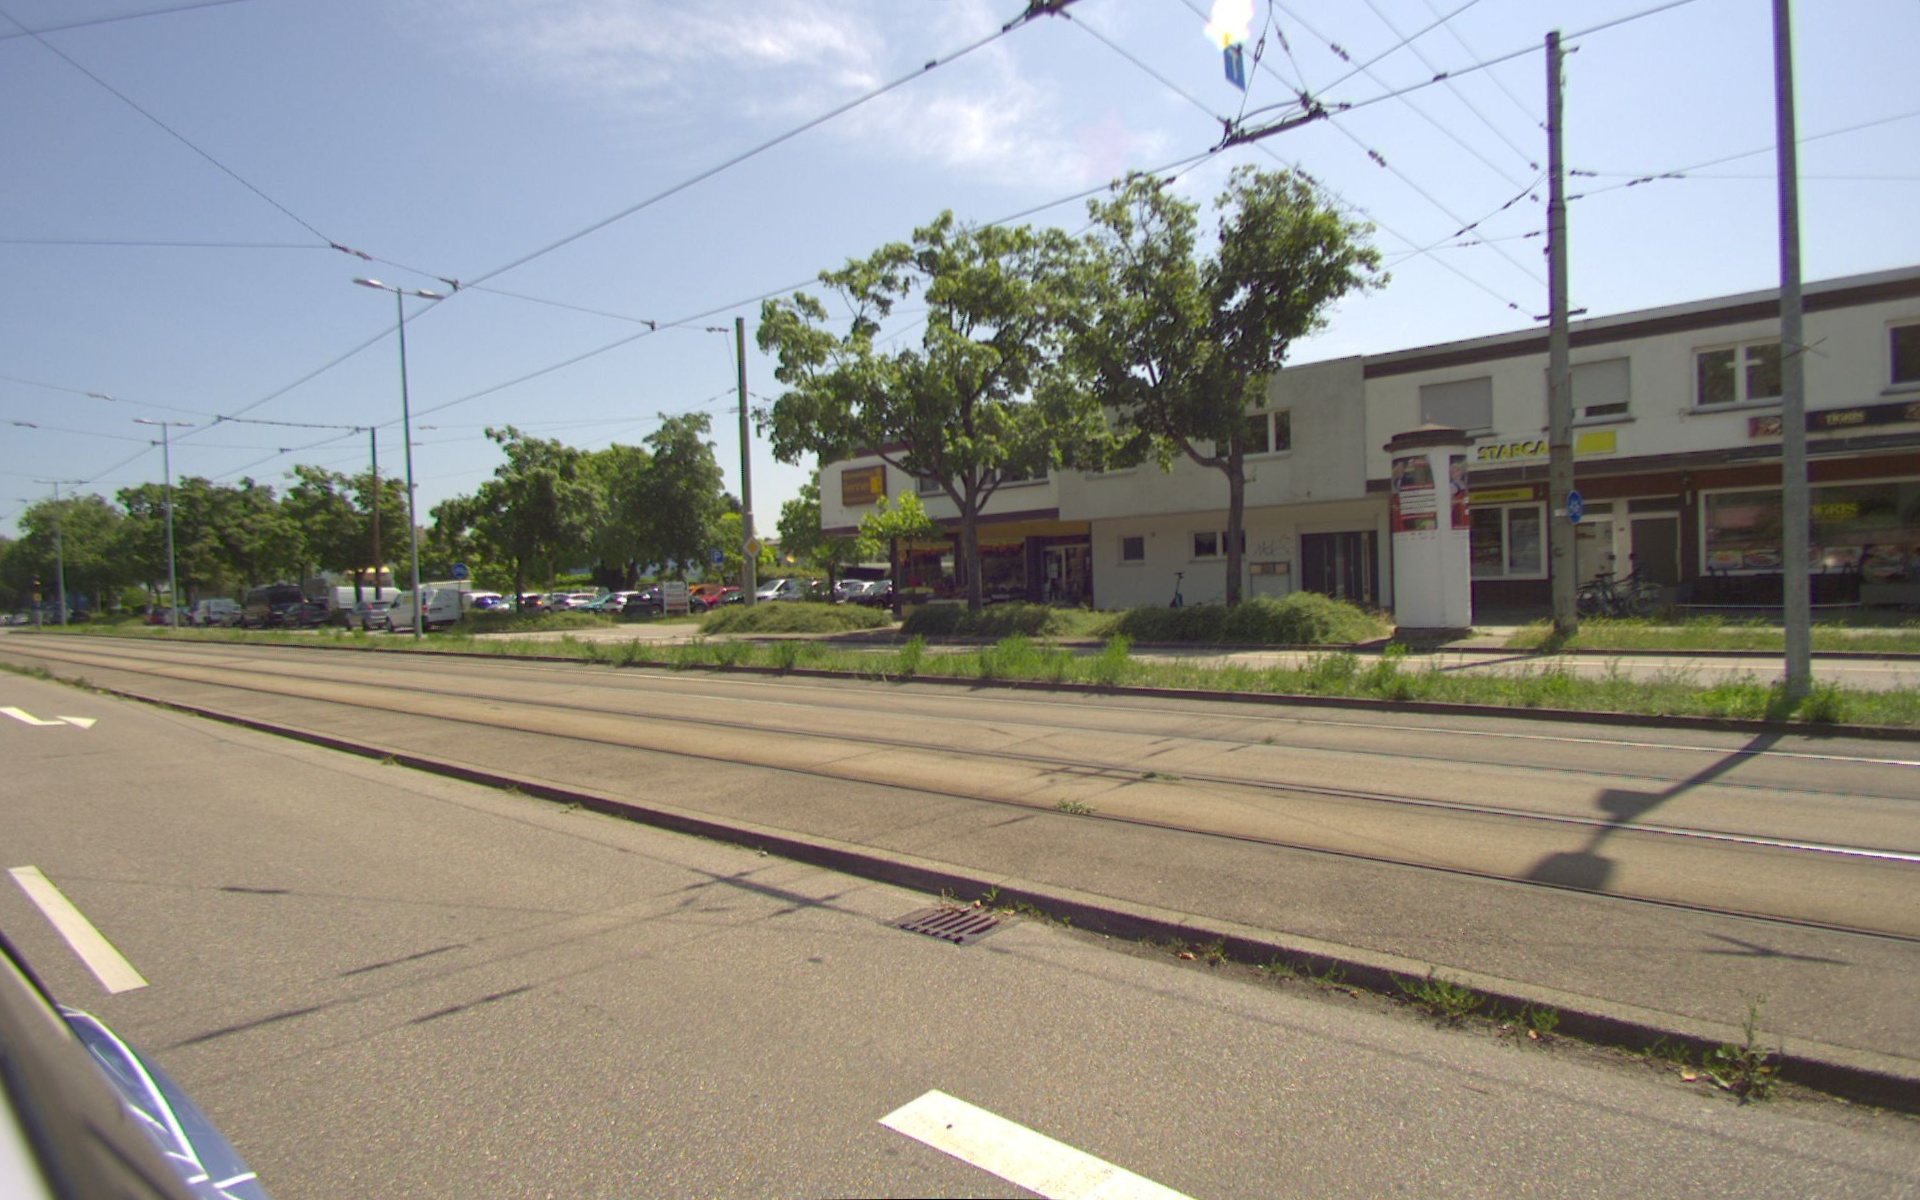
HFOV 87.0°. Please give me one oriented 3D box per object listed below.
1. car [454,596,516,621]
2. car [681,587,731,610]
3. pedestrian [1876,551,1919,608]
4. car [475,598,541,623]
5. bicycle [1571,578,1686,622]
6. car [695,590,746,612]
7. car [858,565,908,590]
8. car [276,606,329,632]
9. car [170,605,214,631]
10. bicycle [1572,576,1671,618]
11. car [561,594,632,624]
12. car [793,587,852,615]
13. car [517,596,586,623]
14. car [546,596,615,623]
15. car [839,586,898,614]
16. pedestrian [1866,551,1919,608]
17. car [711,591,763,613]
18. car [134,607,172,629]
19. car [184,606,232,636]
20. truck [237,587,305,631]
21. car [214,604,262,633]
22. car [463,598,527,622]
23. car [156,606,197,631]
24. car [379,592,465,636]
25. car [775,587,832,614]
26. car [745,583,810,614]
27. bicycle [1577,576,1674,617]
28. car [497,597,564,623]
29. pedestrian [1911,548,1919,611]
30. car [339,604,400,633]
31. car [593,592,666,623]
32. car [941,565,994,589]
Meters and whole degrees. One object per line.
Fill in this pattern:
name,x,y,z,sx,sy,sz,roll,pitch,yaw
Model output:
car,-31.444,0.550,67.090,1.600,1.517,3.375,-1,1,35
car,-18.466,-0.120,73.585,1.504,1.573,3.315,-1,1,38
pedestrian,19.803,-0.440,21.344,0.674,1.172,0.512,-1,1,41
car,-27.973,0.614,62.673,1.600,1.404,3.375,-1,1,35
bicycle,14.150,0.015,21.454,1.958,0.854,0.596,-1,3,41
car,-16.882,0.068,71.460,1.504,1.469,3.315,-1,1,38
car,-6.661,-1.954,87.719,2.000,2.029,3.944,-1,1,42
car,-37.489,1.087,57.674,3.669,1.397,1.653,-1,1,43
car,-56.854,1.316,74.883,4.199,1.807,1.660,-1,1,40
bicycle,14.718,-0.058,22.534,1.786,0.854,0.523,-1,3,41
car,-20.044,0.468,55.866,1.595,1.502,3.375,-1,1,35
car,-8.391,0.033,61.904,1.622,1.549,3.450,-1,1,38
car,-23.748,0.557,58.967,1.600,1.404,3.375,-1,1,35
car,-21.674,0.530,57.927,1.600,1.404,3.375,-1,1,35
car,-5.459,-0.038,60.883,1.622,1.549,3.450,-1,1,38
pedestrian,19.271,-0.415,20.884,0.810,1.136,0.558,-1,1,41
car,-15.262,0.147,69.398,1.504,1.400,3.315,-1,1,38
car,-65.362,1.462,81.991,3.820,1.716,1.660,-1,1,40
car,-52.590,1.442,70.704,4.506,1.989,1.660,-1,1,40
truck,-42.050,0.556,61.760,4.926,2.560,2.197,-1,1,41
car,-48.180,1.241,67.545,3.866,1.807,1.660,-1,1,40
car,-29.787,0.637,64.919,1.600,1.404,3.375,-1,1,35
car,-60.250,1.419,77.807,4.199,1.807,1.660,-2,0,40
car,-25.048,0.644,47.071,4.659,1.897,1.973,-1,1,41
car,-9.904,0.036,64.120,1.532,1.549,3.450,-1,1,38
car,-11.804,-0.113,65.561,1.811,1.798,3.950,-1,1,38
bicycle,15.077,-0.066,22.956,1.786,0.854,0.523,-1,3,41
car,-25.985,0.589,61.300,1.600,1.404,3.375,-1,1,35
pedestrian,19.203,-0.414,20.035,0.491,1.248,0.569,-1,1,40
car,-29.882,0.934,51.184,3.568,1.397,1.653,-1,1,43
car,-17.898,0.401,54.906,1.790,1.502,3.375,-1,1,35
car,0.602,-1.792,78.549,2.000,1.785,3.944,-1,1,42
